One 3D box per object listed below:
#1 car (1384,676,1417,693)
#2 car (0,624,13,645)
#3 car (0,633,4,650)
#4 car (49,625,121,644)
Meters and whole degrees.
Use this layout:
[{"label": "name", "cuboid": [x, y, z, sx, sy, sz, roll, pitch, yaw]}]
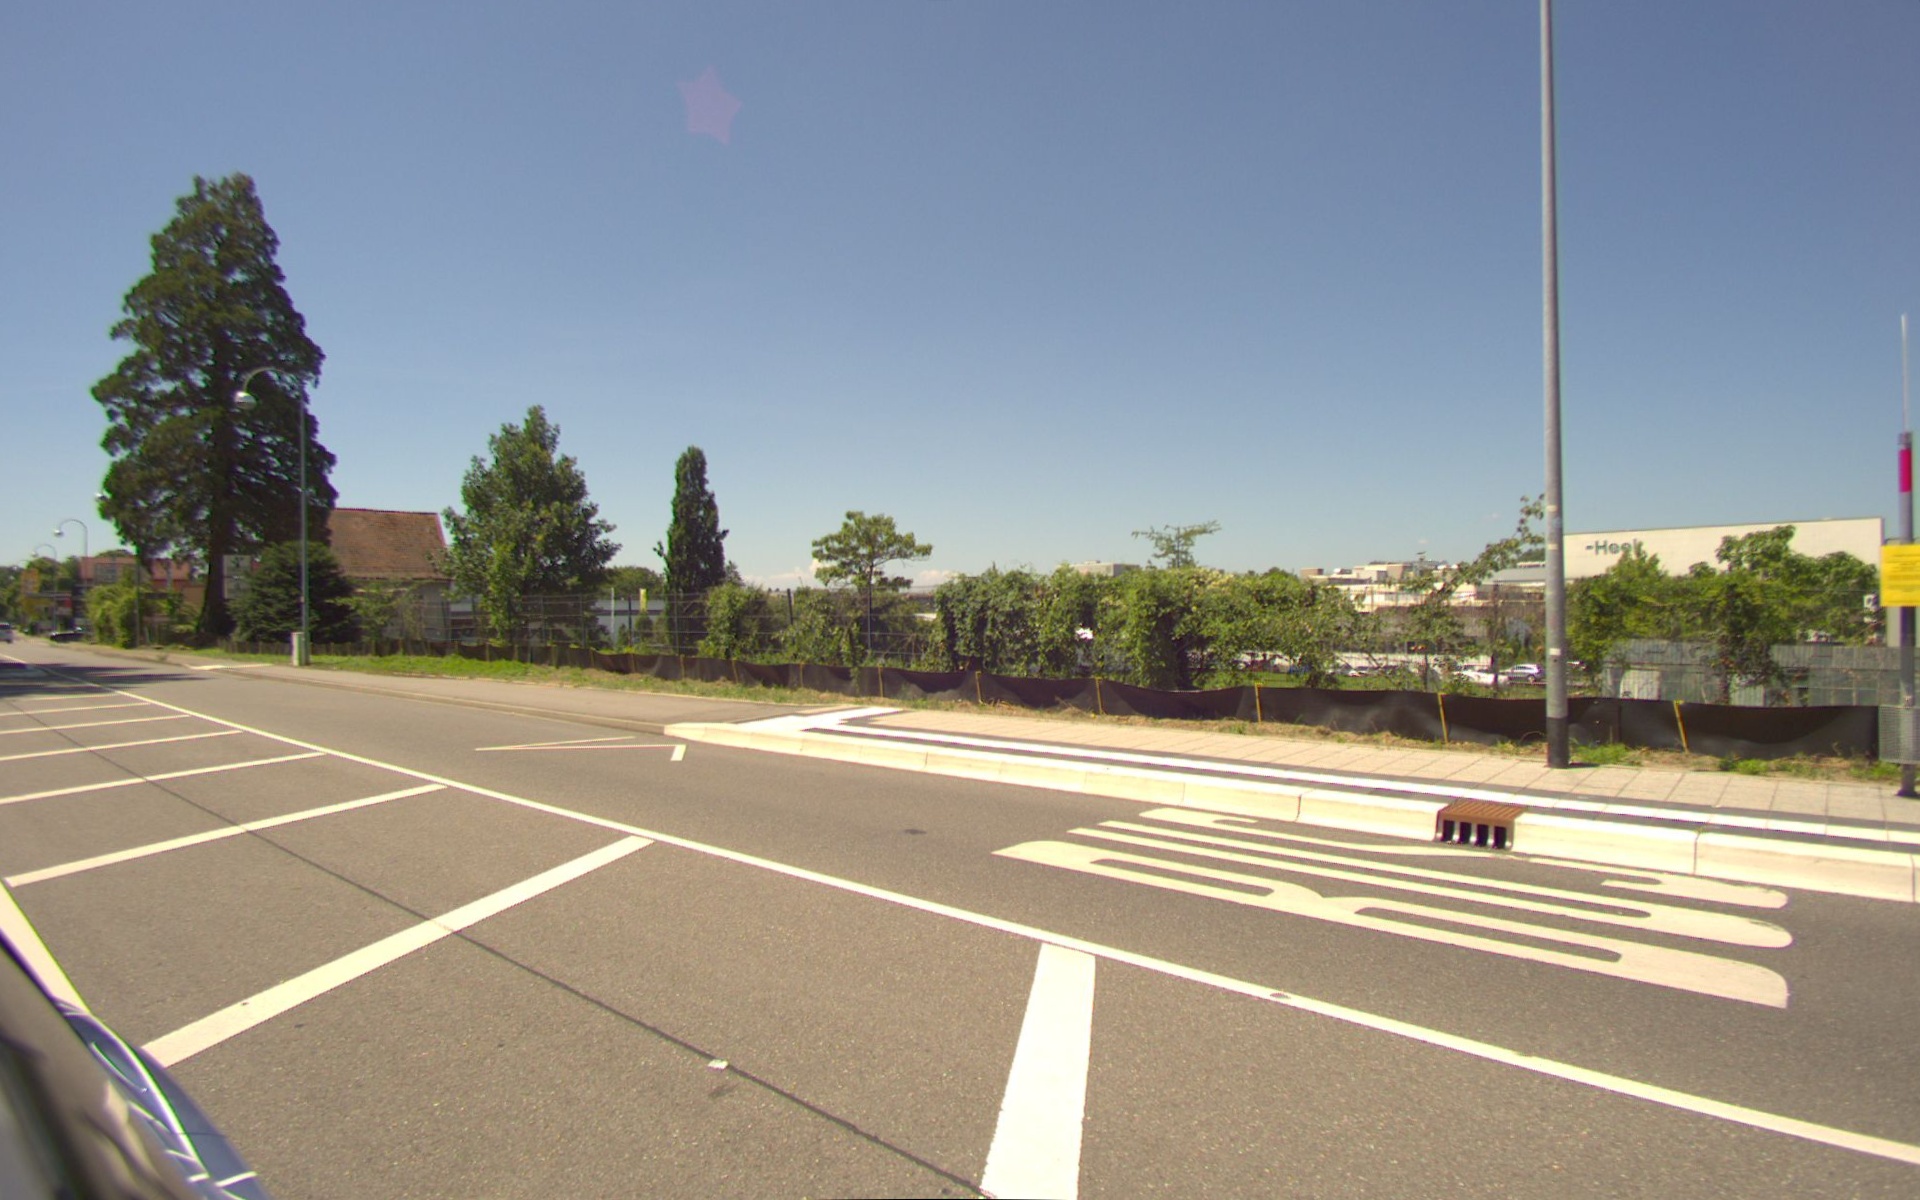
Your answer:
[{"label": "car", "cuboid": [43.670, 8.369, 100.259, 1.998, 1.519, 3.946, -2, -2, 40]}, {"label": "car", "cuboid": [-77.642, 2.765, 81.333, 4.688, 1.657, 1.764, -2, -4, 42]}, {"label": "car", "cuboid": [-93.121, 3.967, 97.018, 4.321, 1.561, 1.859, -2, -2, 43]}, {"label": "car", "cuboid": [-73.862, 2.929, 85.539, 4.246, 1.561, 1.891, 1, -2, -28]}]
